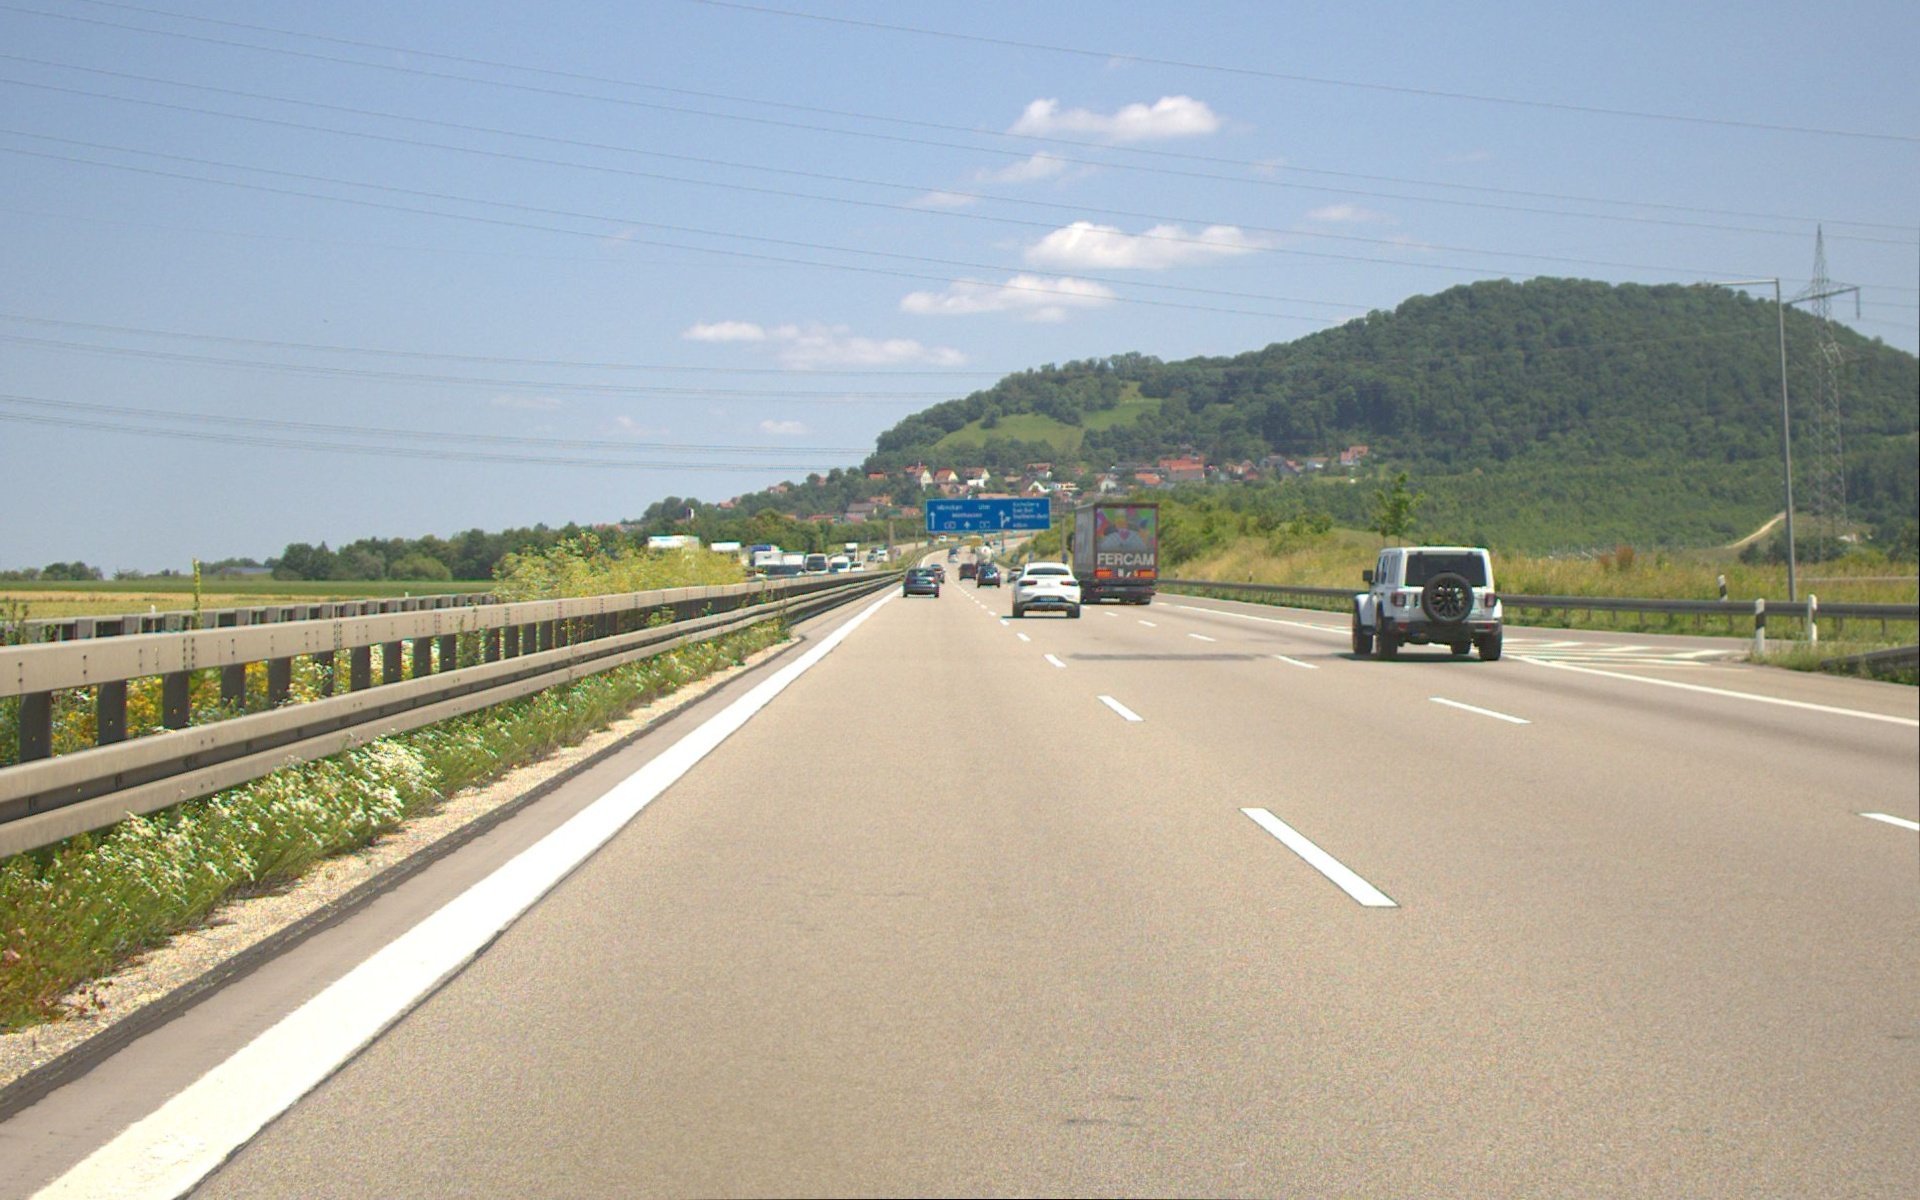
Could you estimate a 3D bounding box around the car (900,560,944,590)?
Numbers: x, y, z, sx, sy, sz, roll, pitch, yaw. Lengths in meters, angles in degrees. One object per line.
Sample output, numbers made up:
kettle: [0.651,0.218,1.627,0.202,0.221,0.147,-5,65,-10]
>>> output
car: [-1.775,-1.174,162.369,1.993,1.384,4.000,1,0,0]

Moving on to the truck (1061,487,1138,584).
truck: [5.952,-2.701,147.394,2.752,4.007,6.789,1,0,-2]

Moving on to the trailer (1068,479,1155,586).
trailer: [6.131,-2.685,140.756,2.725,4.141,11.809,1,0,-1]

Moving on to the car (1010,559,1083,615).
car: [2.509,-0.388,100.485,1.914,1.575,5.231,1,0,-1]

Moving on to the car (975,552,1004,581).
car: [2.067,-2.359,241.498,1.993,2.007,4.000,1,0,0]

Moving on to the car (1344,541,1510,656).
car: [7.563,-0.056,56.022,2.034,1.798,4.251,0,1,-1]
